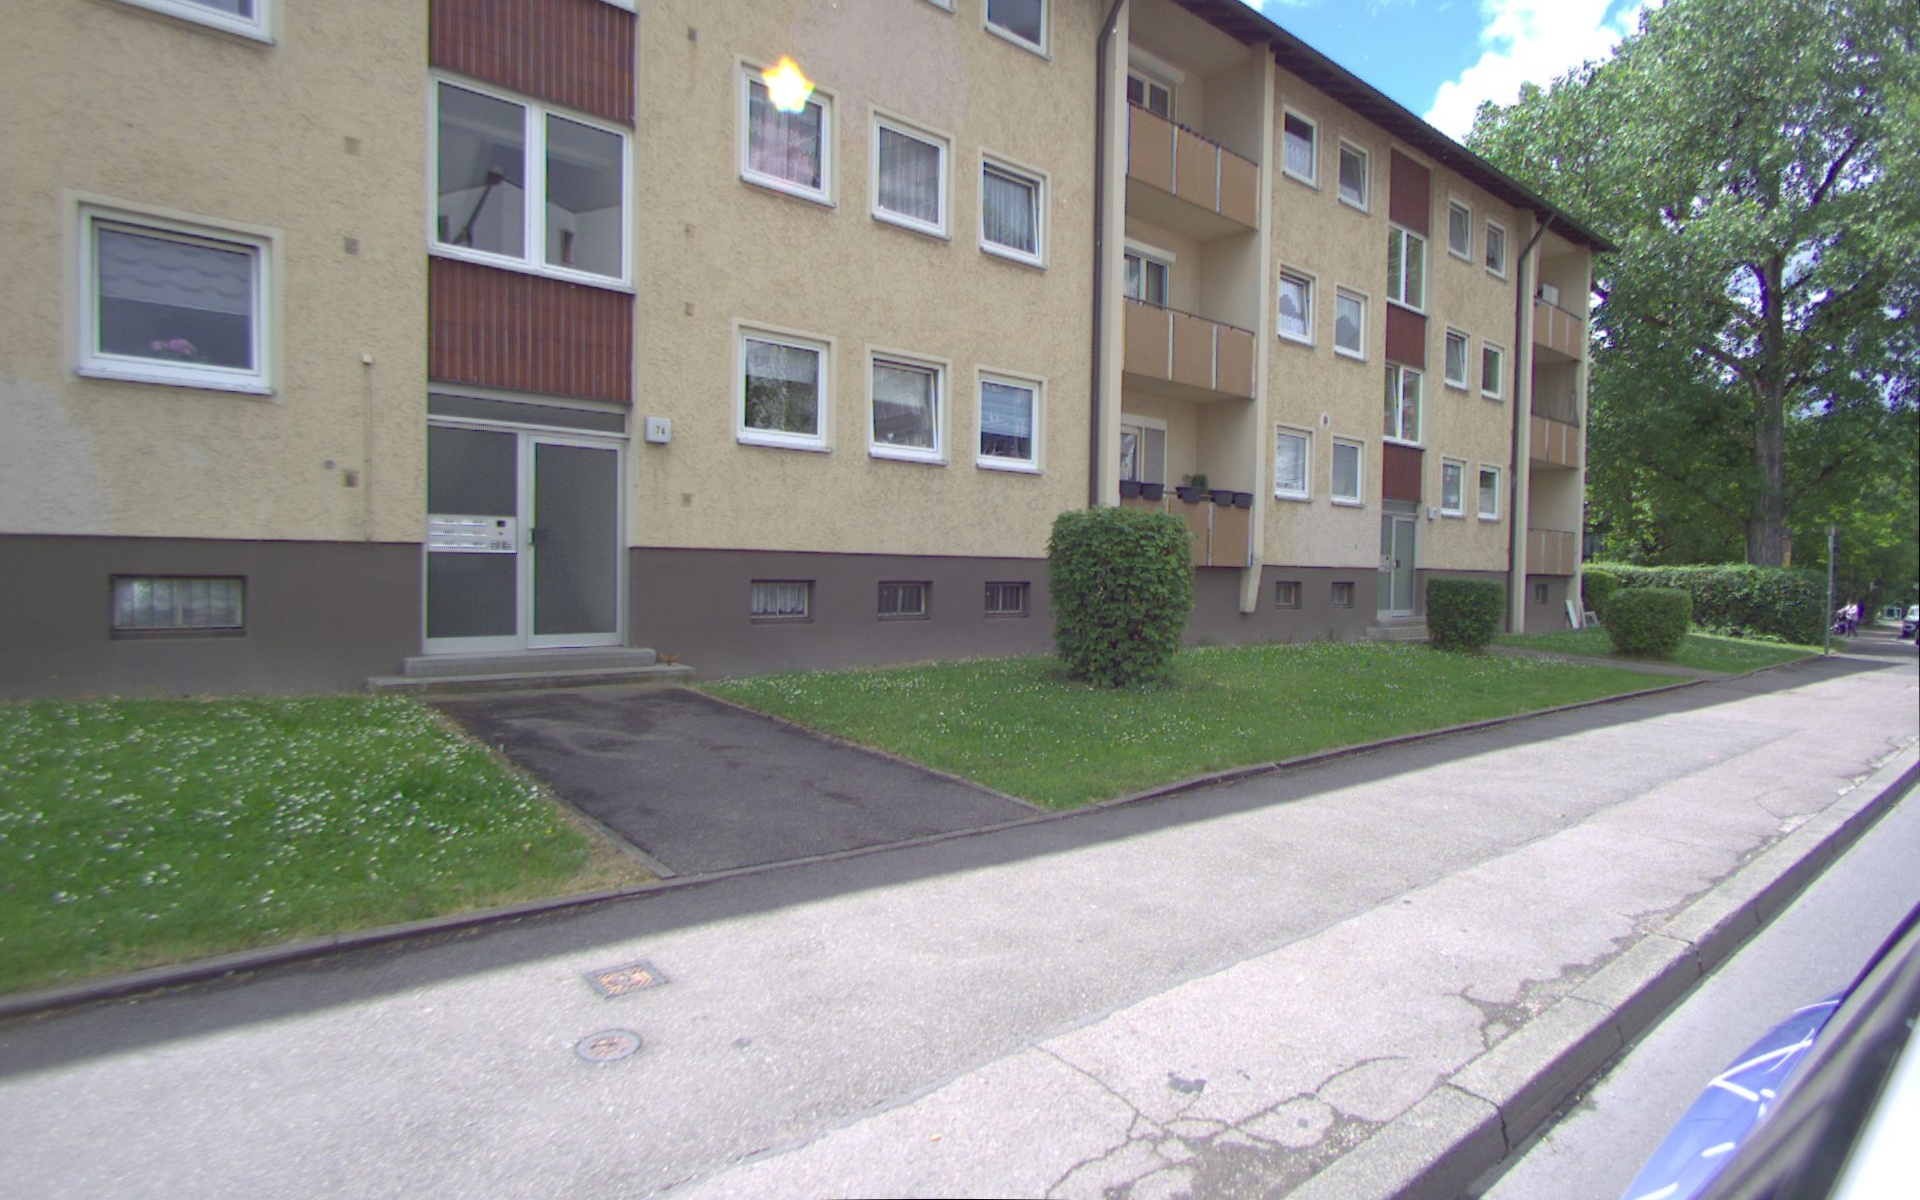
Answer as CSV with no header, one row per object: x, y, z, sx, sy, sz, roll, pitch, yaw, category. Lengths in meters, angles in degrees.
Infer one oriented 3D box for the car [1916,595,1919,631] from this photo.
45.212,0.656,46.492,1.784,1.584,4.497,4,2,44,car

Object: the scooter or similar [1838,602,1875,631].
35.668,0.674,40.256,2.078,1.077,0.891,2,2,-44,scooter or similar

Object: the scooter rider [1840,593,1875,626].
35.759,0.396,40.318,1.260,1.235,0.886,2,1,-44,scooter rider
